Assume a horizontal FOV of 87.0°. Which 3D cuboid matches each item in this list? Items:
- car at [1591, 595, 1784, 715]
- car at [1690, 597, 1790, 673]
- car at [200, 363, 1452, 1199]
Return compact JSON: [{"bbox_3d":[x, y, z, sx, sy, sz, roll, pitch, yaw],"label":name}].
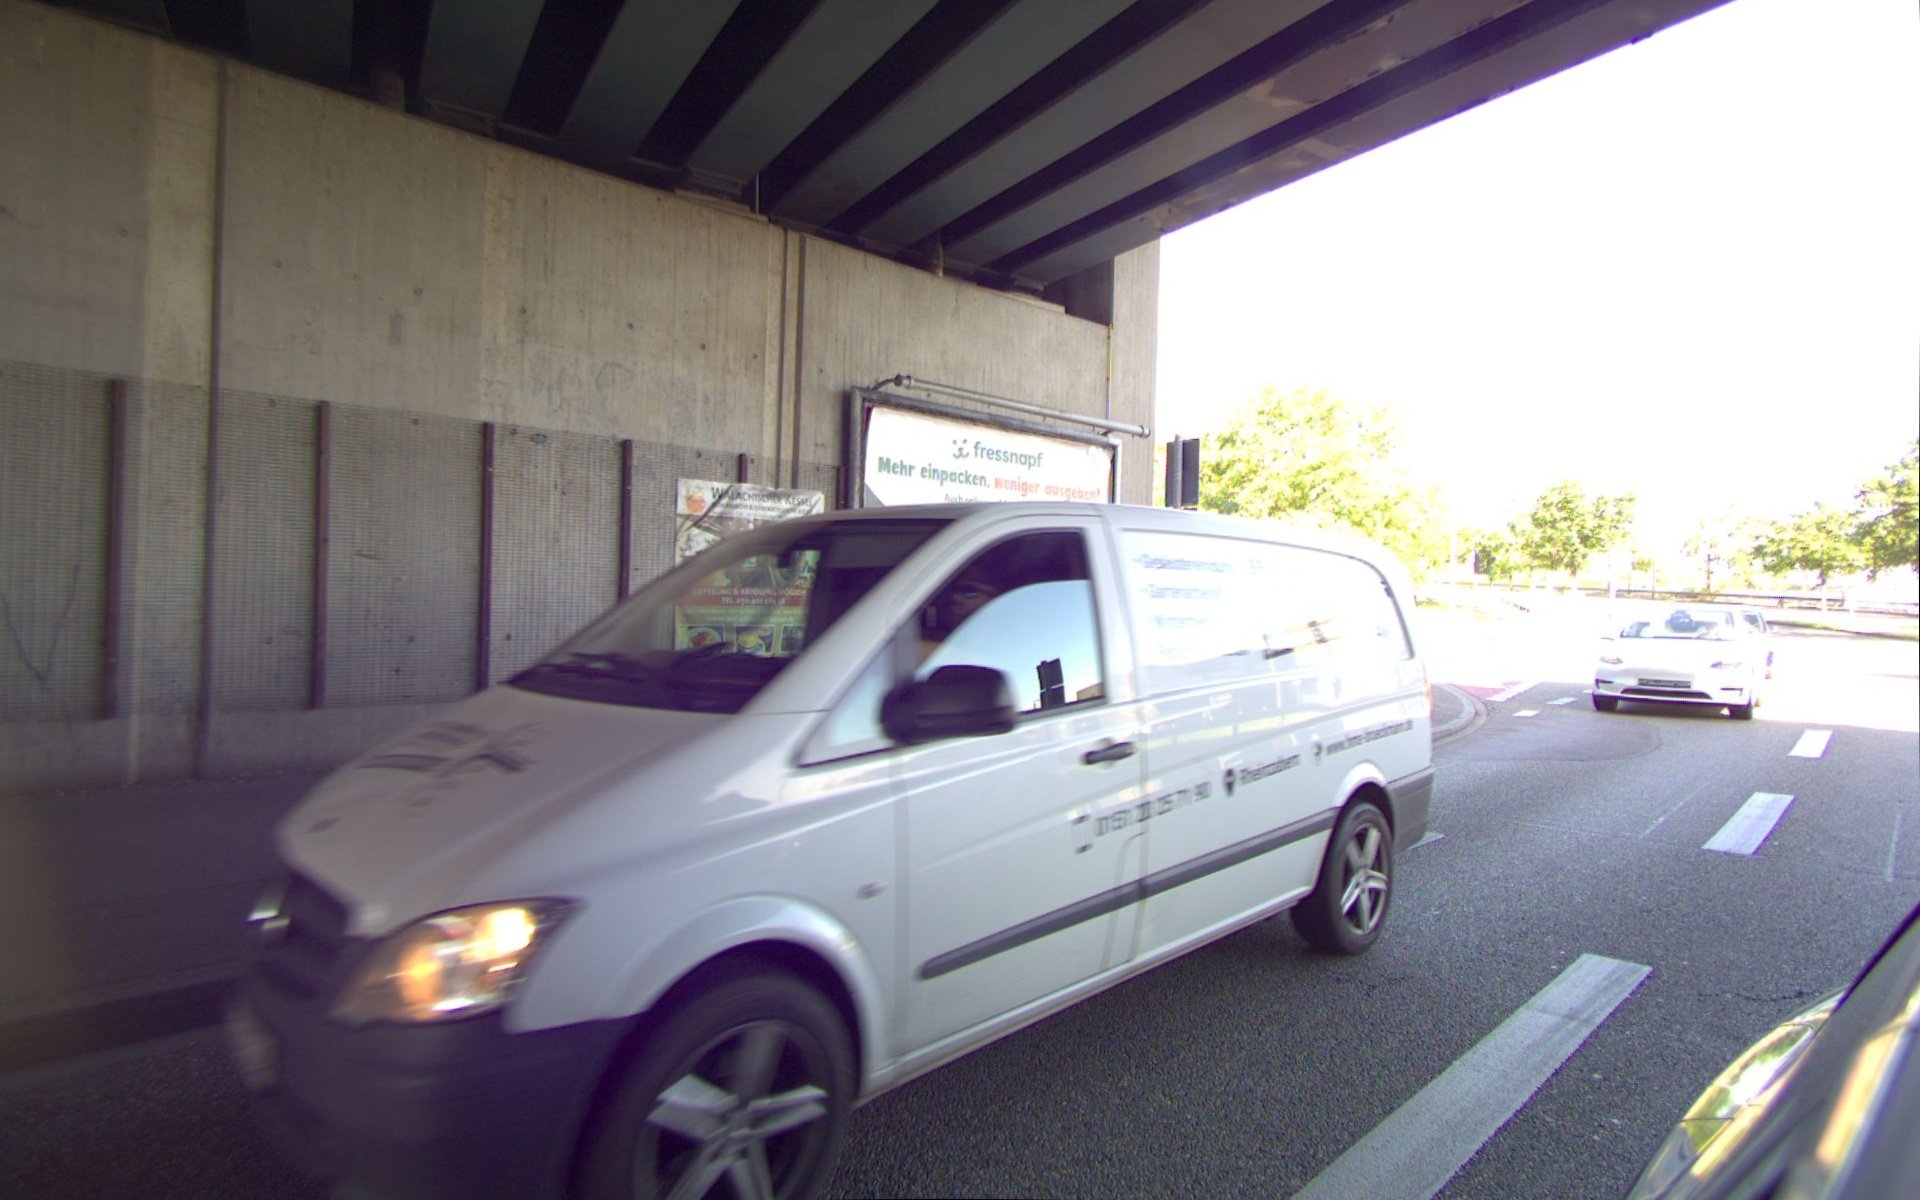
[{"bbox_3d":[11.412,0.740,15.751,1.992,1.571,4.354,-1,0,42],"label":"car"},{"bbox_3d":[18.713,0.761,24.279,1.771,1.621,4.048,0,0,38],"label":"car"},{"bbox_3d":[0.086,0.538,4.009,4.756,1.859,1.898,0,0,-45],"label":"car"}]
